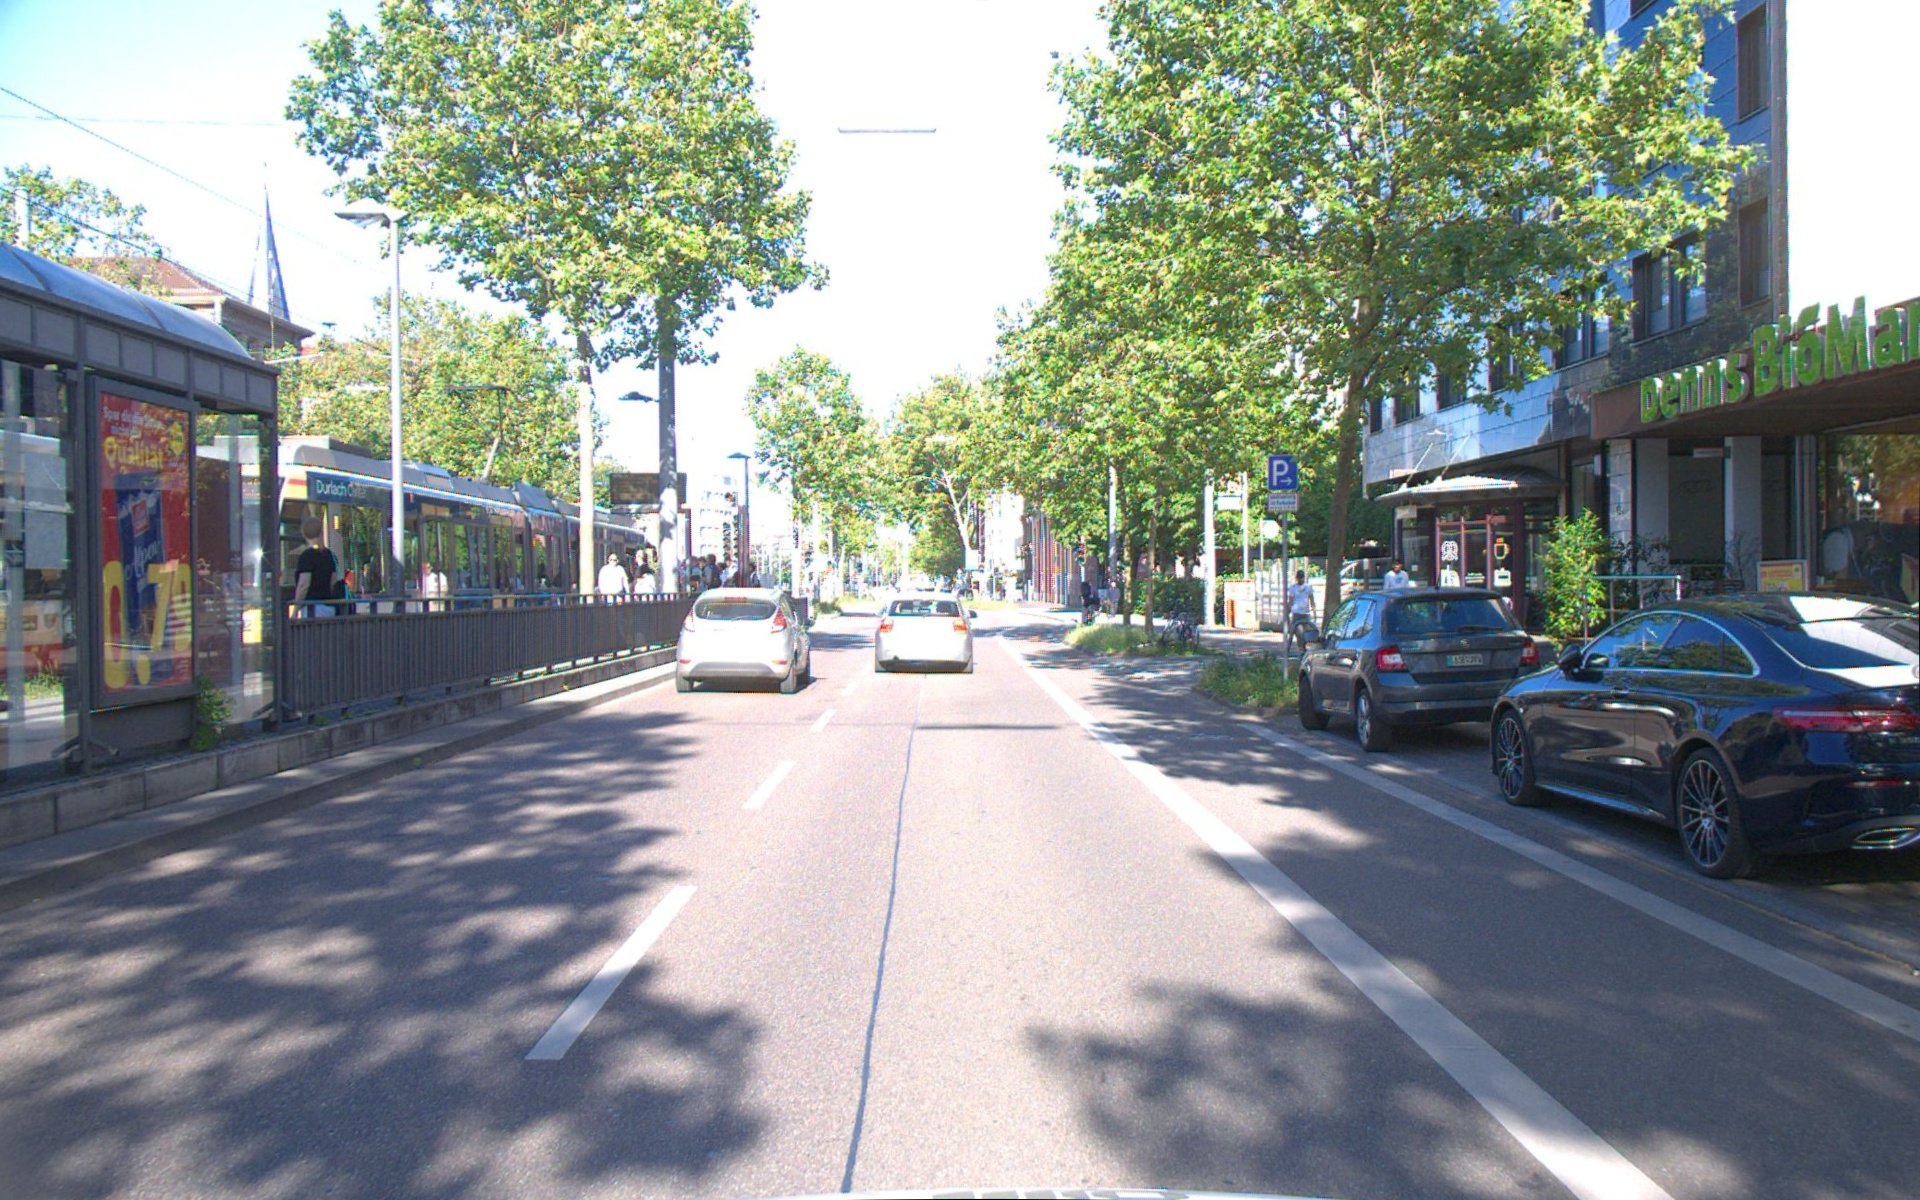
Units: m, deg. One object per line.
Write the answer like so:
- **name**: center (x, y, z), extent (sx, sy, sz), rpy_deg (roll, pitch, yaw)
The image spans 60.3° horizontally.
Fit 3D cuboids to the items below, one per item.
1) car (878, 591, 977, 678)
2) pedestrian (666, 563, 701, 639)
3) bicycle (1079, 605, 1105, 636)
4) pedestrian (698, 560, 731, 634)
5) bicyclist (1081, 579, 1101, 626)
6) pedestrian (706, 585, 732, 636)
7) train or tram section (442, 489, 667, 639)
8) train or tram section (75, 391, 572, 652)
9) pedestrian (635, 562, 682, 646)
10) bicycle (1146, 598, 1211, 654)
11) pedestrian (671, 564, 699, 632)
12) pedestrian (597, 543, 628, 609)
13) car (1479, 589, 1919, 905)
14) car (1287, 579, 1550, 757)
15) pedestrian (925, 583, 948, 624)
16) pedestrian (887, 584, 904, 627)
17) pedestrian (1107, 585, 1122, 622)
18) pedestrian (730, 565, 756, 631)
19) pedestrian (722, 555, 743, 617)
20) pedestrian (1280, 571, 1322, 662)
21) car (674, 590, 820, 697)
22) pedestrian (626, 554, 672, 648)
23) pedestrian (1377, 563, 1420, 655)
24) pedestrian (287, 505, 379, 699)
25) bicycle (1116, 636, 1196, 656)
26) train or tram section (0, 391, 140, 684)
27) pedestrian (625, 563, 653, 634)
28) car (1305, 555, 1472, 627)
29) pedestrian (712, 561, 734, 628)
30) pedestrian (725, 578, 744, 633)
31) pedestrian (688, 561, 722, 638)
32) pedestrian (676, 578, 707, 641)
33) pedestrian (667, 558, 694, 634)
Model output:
- **car**: center (-0.605, 0.587, 30.348), extent (1.695, 1.414, 3.839), rpy_deg (1, 1, -1)
- **pedestrian**: center (-6.135, 0.010, 36.725), extent (0.647, 1.662, 0.571), rpy_deg (-1, 0, 0)
- **bicycle**: center (4.738, 0.725, 59.305), extent (0.814, 1.059, 1.876), rpy_deg (-1, 0, 8)
- **pedestrian**: center (-5.737, -0.072, 38.705), extent (0.647, 1.726, 0.571), rpy_deg (-1, 0, 0)
- **bicyclist**: center (4.715, 0.084, 59.395), extent (0.644, 1.686, 0.765), rpy_deg (-1, 0, 8)
- **pedestrian**: center (-5.757, 0.246, 39.528), extent (0.534, 1.213, 0.531), rpy_deg (-1, 0, -1)
- **train or tram section**: center (-10.318, -0.735, 43.897), extent (2.855, 3.317, 13.109), rpy_deg (1, -1, -1)
- **train or tram section**: center (-10.110, -0.916, 29.401), extent (2.855, 3.317, 15.889), rpy_deg (1, -1, -1)
- **pedestrian**: center (-5.592, 0.071, 30.714), extent (0.760, 1.536, 0.751), rpy_deg (-1, 0, -4)
- **bicycle**: center (4.686, 0.540, 35.543), extent (0.774, 1.153, 1.840), rpy_deg (-1, 0, -13)
- **pedestrian**: center (-6.859, -0.051, 41.299), extent (0.606, 1.678, 0.622), rpy_deg (-1, 0, -5)
- **pedestrian**: center (-7.106, -0.485, 33.853), extent (0.523, 1.322, 0.604), rpy_deg (-1, 0, -4)
- **car**: center (4.758, 0.663, 9.912), extent (1.726, 1.443, 4.699), rpy_deg (0, 0, -1)
- **car**: center (4.487, 0.604, 16.756), extent (1.533, 1.577, 4.000), rpy_deg (0, 0, 0)
- **pedestrian**: center (-0.939, 0.131, 65.146), extent (0.812, 1.603, 0.739), rpy_deg (0, -1, 7)
- **pedestrian**: center (-2.507, 0.221, 64.164), extent (0.626, 1.648, 0.641), rpy_deg (-1, -2, -4)
- **pedestrian**: center (7.138, 0.156, 76.336), extent (0.613, 1.657, 0.944), rpy_deg (0, 0, 8)
- **pedestrian**: center (-5.896, -0.057, 44.885), extent (0.541, 1.764, 0.535), rpy_deg (-1, 0, -26)
- **pedestrian**: center (-6.615, -0.402, 48.083), extent (0.537, 1.764, 0.539), rpy_deg (-1, 0, -5)
- **pedestrian**: center (6.583, 0.310, 31.982), extent (0.548, 1.734, 1.052), rpy_deg (-1, 0, -1)
- **car**: center (-3.027, 0.590, 24.112), extent (1.626, 1.434, 3.632), rpy_deg (1, 0, 0)
- **pedestrian**: center (-6.023, 0.019, 32.023), extent (0.760, 1.783, 0.722), rpy_deg (-1, 0, -4)
- **pedestrian**: center (8.578, 0.168, 32.370), extent (0.548, 1.775, 0.878), rpy_deg (-1, 0, -1)
- **pedestrian**: center (-5.498, 0.016, 14.522), extent (0.555, 1.668, 0.622), rpy_deg (0, 0, 1)
- **bicycle**: center (4.270, 0.998, 36.214), extent (1.576, 0.359, 1.389), rpy_deg (-1, 0, -1)
- **train or tram section**: center (-12.797, -0.719, 13.986), extent (2.791, 3.494, 18.212), rpy_deg (1, 0, -1)
- **pedestrian**: center (-7.868, -0.035, 40.510), extent (0.597, 1.732, 0.545), rpy_deg (-1, 0, -5)
- **car**: center (13.809, -0.295, 53.450), extent (4.798, 2.019, 1.913), rpy_deg (-3, 0, -1)
- **pedestrian**: center (-6.181, -0.141, 43.171), extent (0.495, 1.732, 0.611), rpy_deg (-1, 0, -5)
- **pedestrian**: center (-5.548, 0.144, 40.709), extent (0.407, 1.339, 0.507), rpy_deg (-1, 0, -3)
- **pedestrian**: center (-5.782, -0.020, 37.553), extent (0.647, 1.726, 0.571), rpy_deg (-1, 0, 0)
- **pedestrian**: center (-5.533, 0.187, 34.080), extent (0.523, 1.268, 0.604), rpy_deg (-1, 0, -3)
- **pedestrian**: center (-6.472, -0.084, 38.258), extent (0.504, 1.738, 0.621), rpy_deg (-1, 0, -1)
